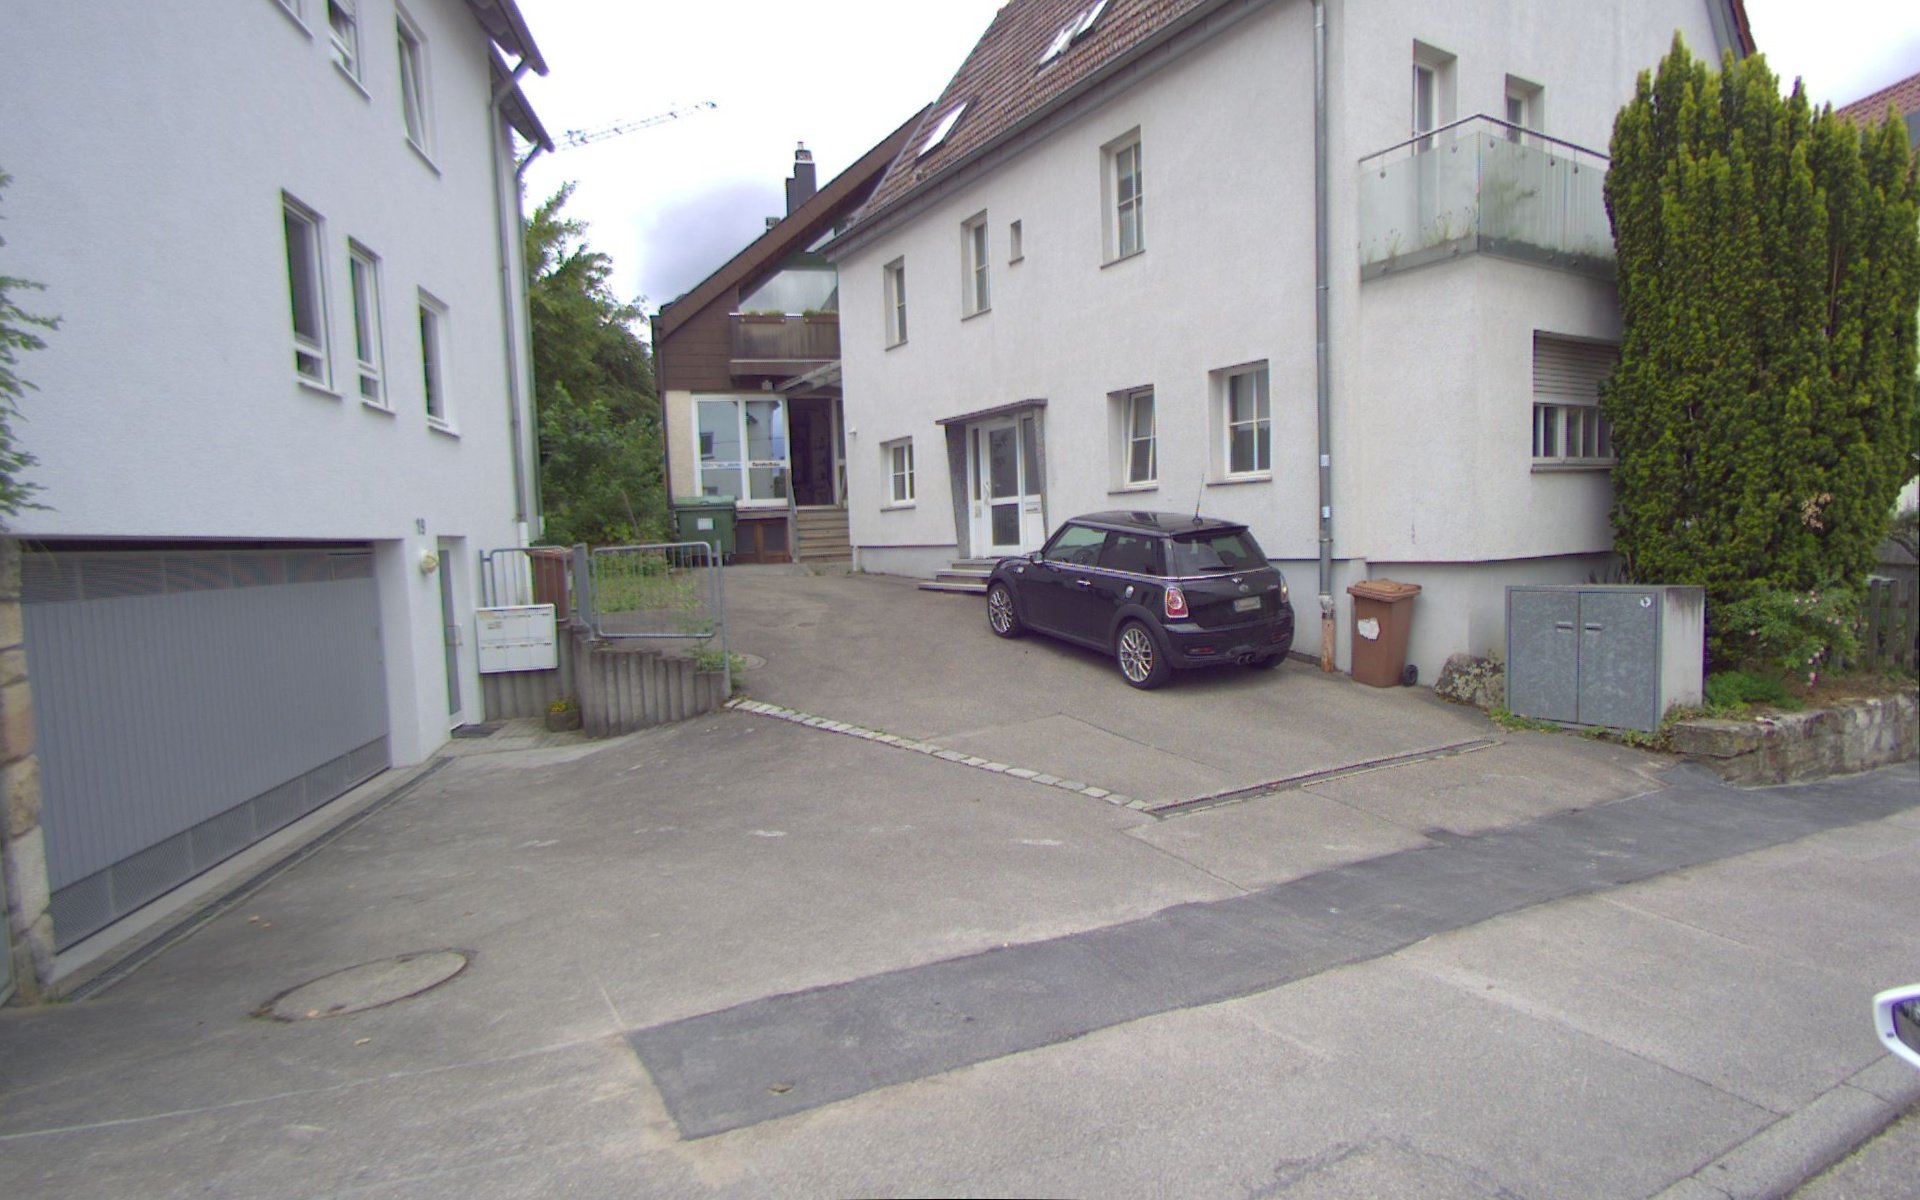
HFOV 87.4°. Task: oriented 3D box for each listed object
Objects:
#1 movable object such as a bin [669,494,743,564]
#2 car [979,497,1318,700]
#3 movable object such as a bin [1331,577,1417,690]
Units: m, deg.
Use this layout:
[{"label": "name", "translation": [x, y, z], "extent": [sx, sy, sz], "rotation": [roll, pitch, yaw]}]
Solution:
[{"label": "movable object such as a bin", "translation": [-5.377, -1.517, 21.214], "extent": [1.416, 1.419, 1.446], "rotation": [-2, 5, -16]}, {"label": "car", "translation": [1.720, -0.192, 10.242], "extent": [1.605, 1.490, 3.385], "rotation": [-4, 11, -28]}, {"label": "movable object such as a bin", "translation": [3.787, 0.296, 9.207], "extent": [0.426, 0.915, 0.509], "rotation": [-6, 12, -29]}]
